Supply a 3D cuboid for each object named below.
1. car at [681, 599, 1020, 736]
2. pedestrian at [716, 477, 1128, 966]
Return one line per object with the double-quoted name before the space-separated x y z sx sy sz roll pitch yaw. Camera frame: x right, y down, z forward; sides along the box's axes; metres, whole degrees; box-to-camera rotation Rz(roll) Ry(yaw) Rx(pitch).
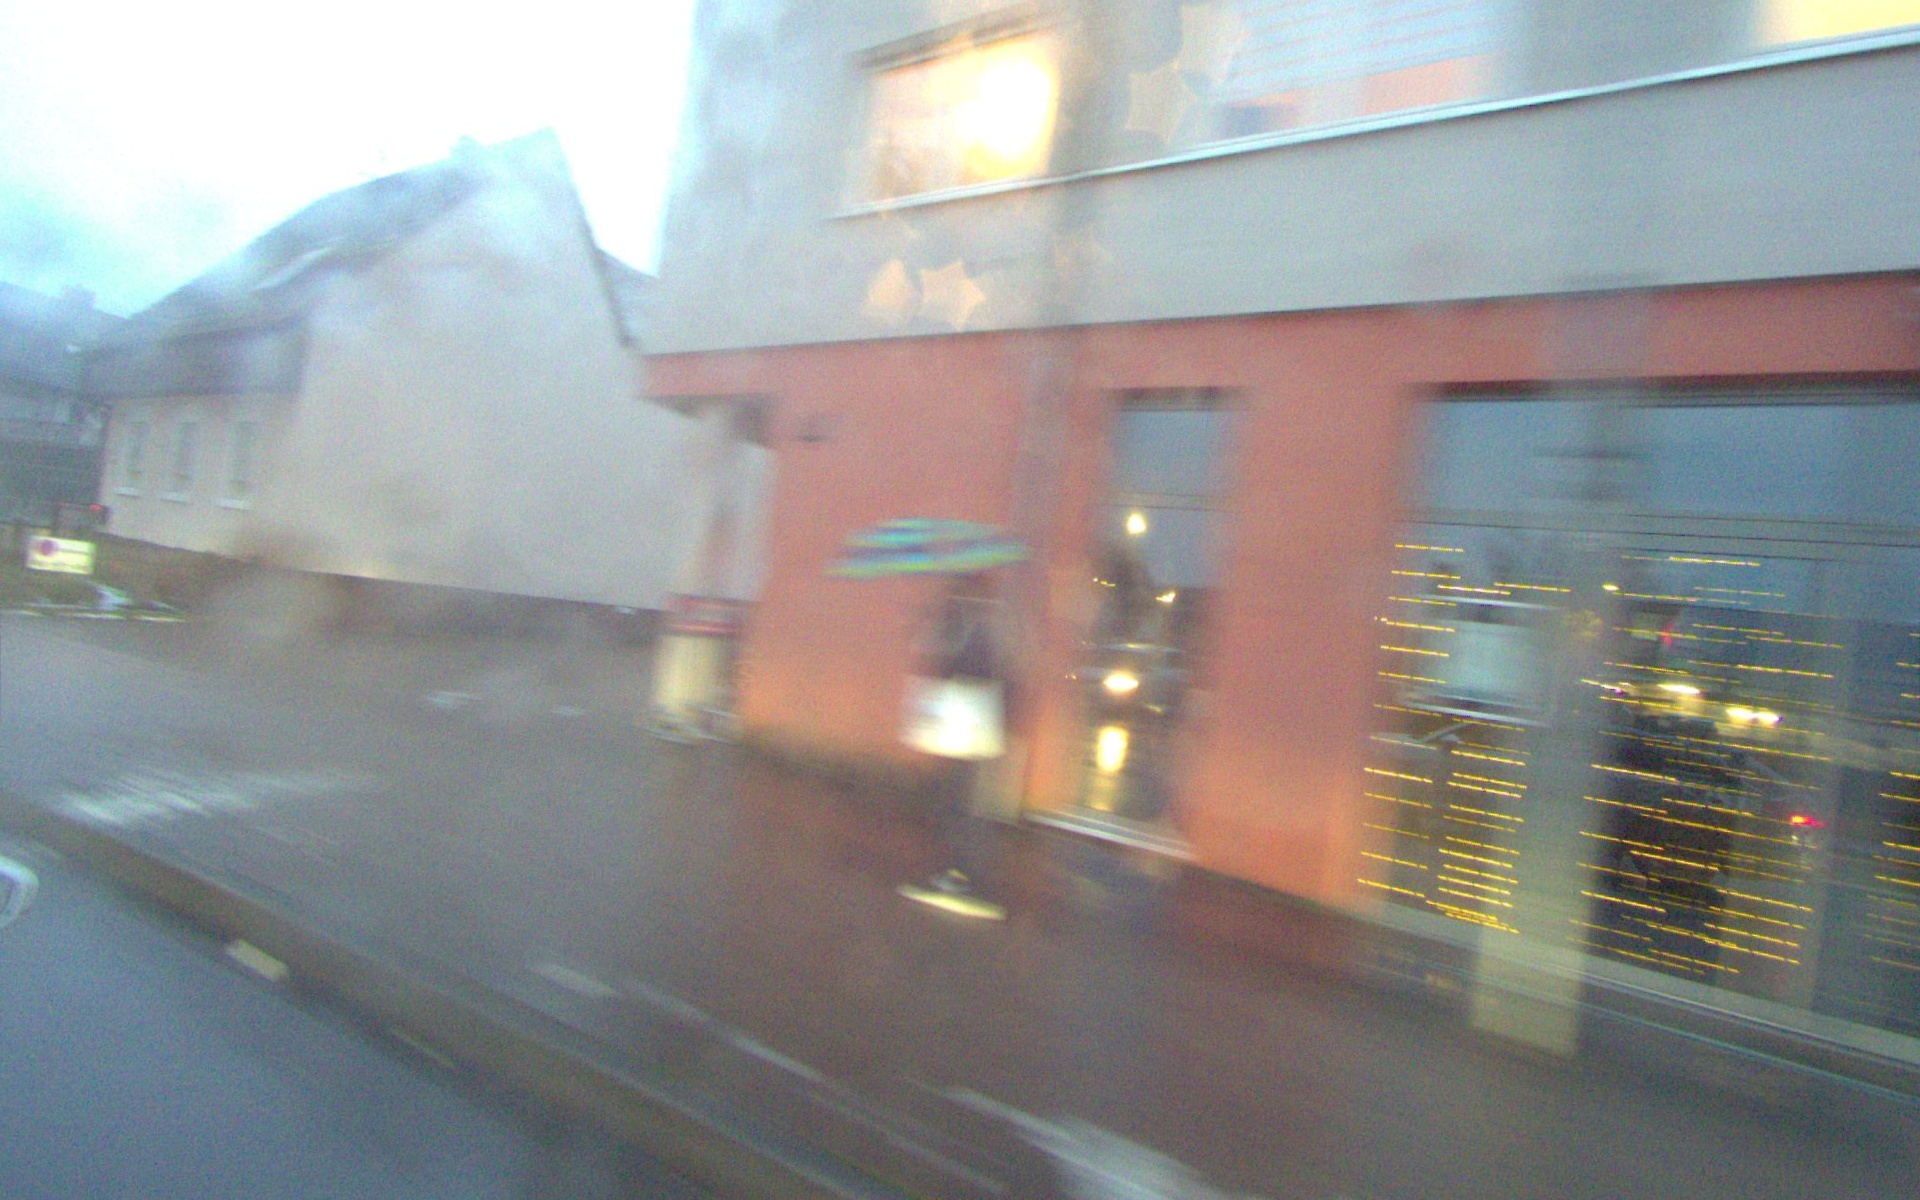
"car" -1.427 0.873 13.715 4.091 1.273 1.882 6 -1 15
"pedestrian" -0.159 0.477 4.808 1.283 1.889 1.254 7 1 36
